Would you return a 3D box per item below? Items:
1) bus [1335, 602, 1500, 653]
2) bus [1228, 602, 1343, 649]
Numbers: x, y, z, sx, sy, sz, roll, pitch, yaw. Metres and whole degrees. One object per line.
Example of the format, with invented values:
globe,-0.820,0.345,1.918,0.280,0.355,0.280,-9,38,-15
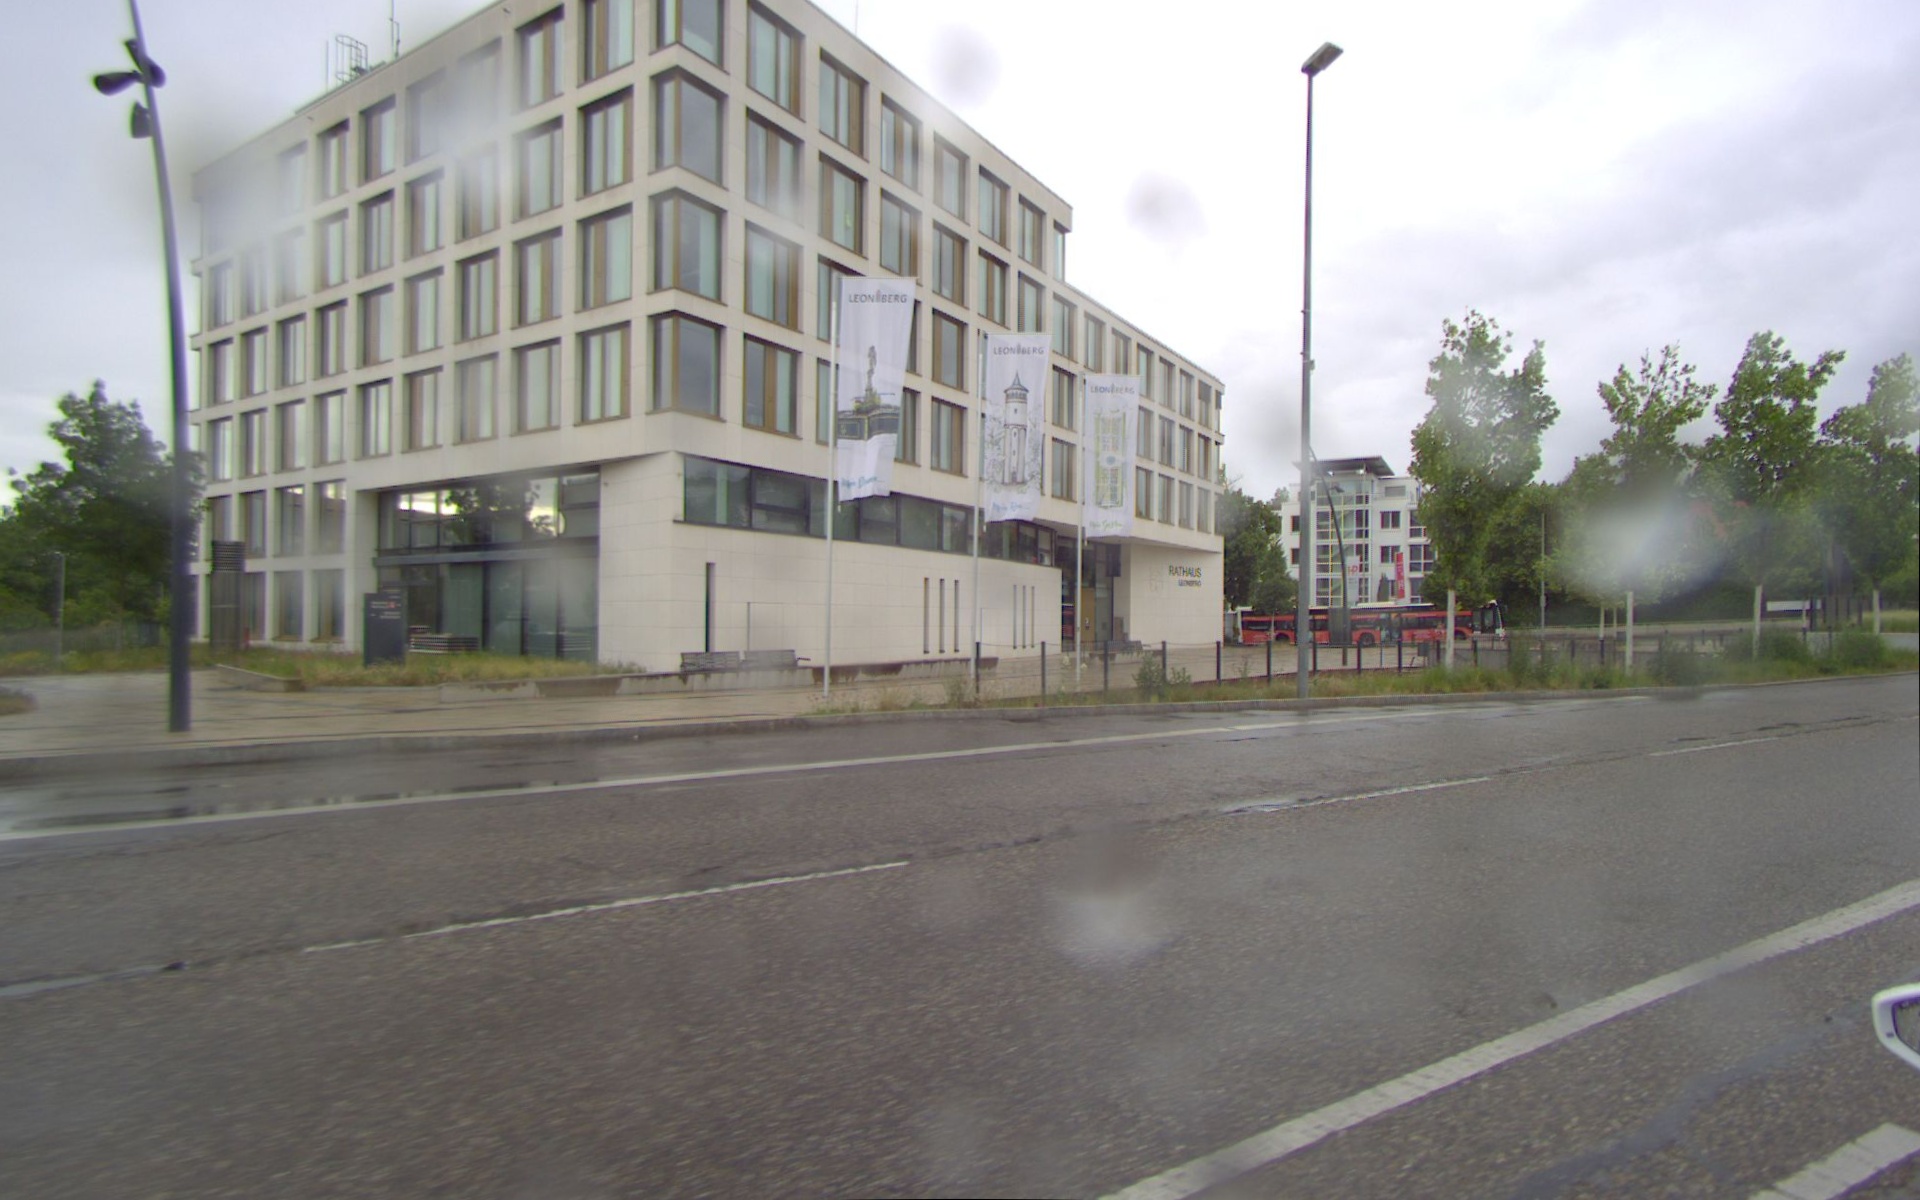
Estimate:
bus,31.896,1.856,70.217,10.228,3.324,2.857,0,-3,32
bus,24.282,1.871,75.051,7.706,3.324,2.736,0,-3,32
